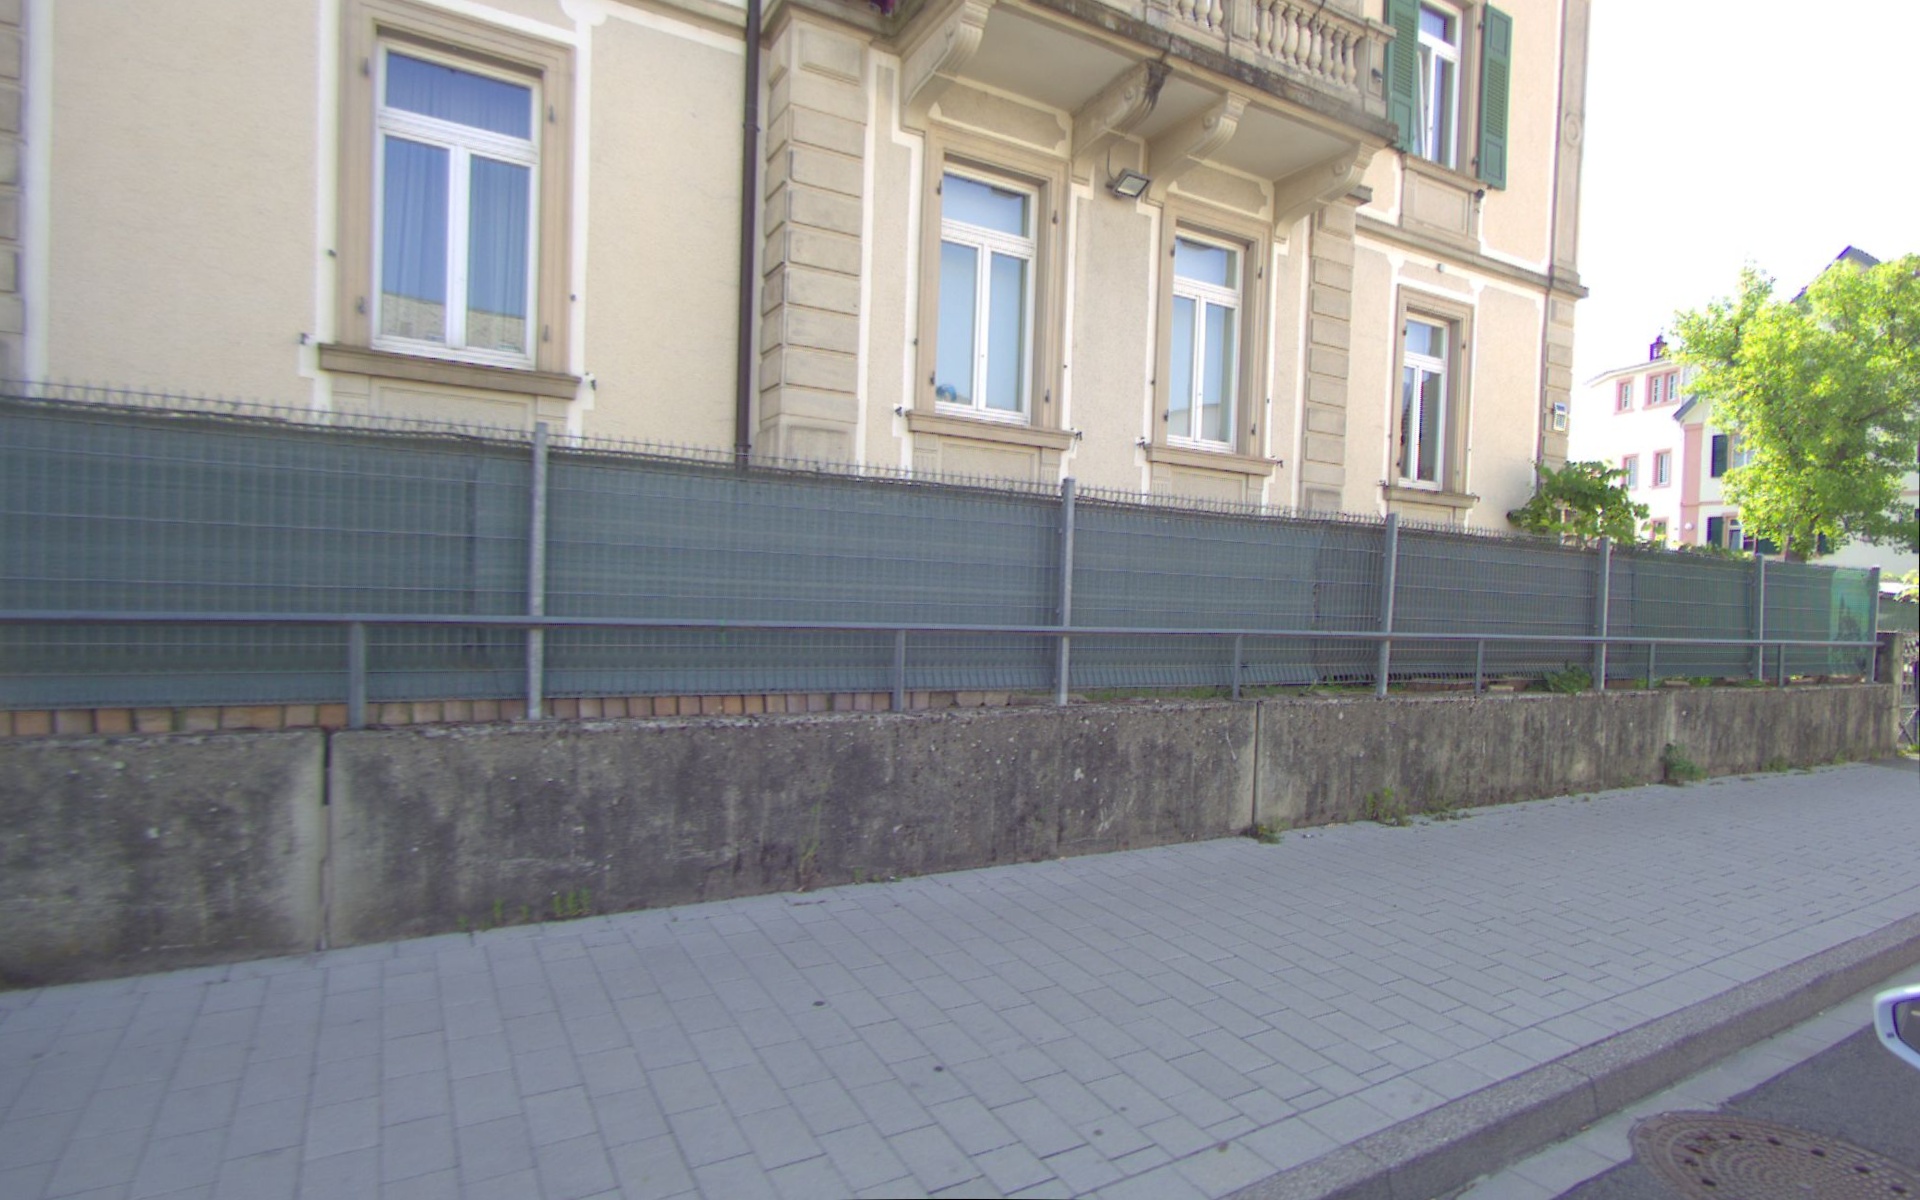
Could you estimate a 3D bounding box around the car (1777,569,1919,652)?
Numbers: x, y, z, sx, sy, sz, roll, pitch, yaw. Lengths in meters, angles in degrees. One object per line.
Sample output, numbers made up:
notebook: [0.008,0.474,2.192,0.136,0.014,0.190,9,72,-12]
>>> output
car: [22.412,0.254,24.913,4.630,1.796,1.813,1,5,-32]
